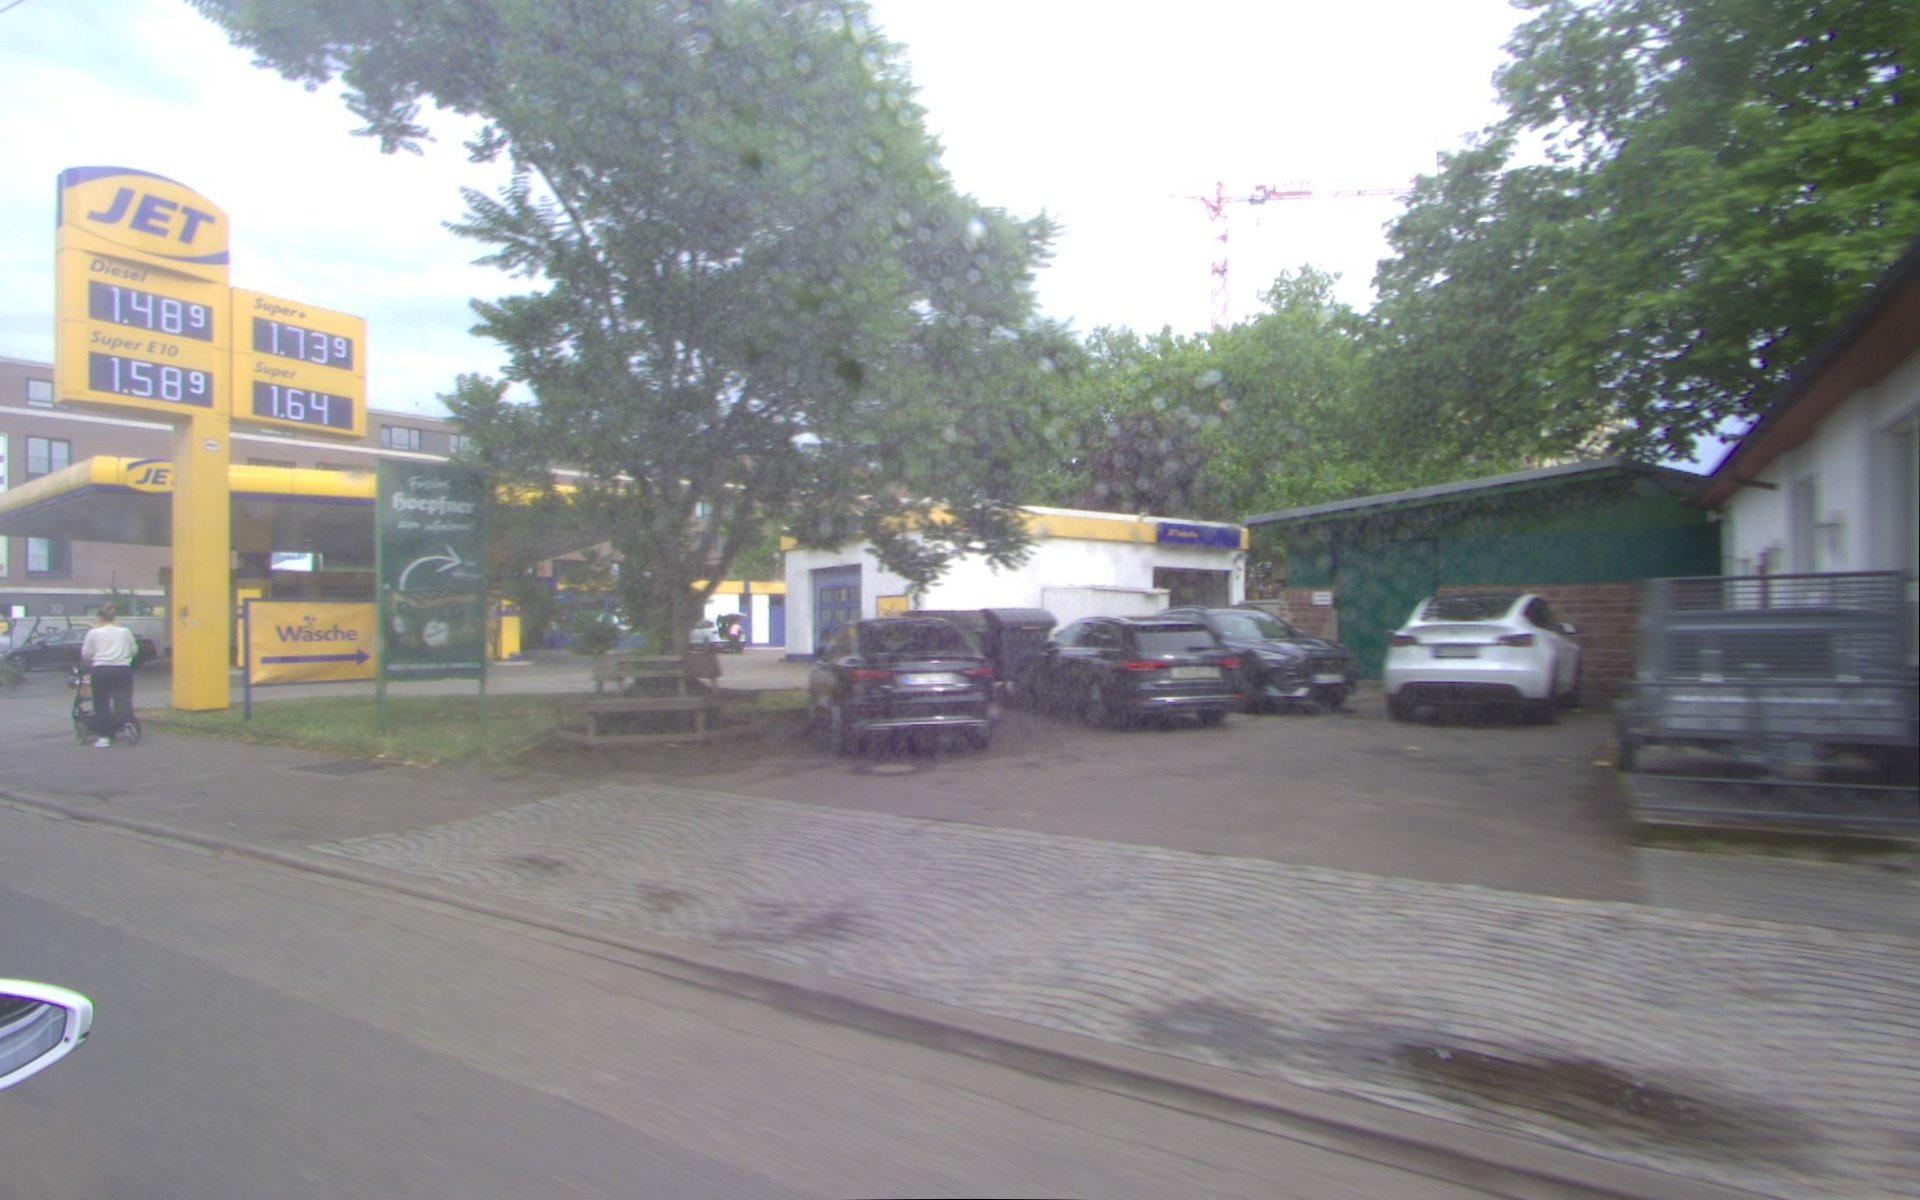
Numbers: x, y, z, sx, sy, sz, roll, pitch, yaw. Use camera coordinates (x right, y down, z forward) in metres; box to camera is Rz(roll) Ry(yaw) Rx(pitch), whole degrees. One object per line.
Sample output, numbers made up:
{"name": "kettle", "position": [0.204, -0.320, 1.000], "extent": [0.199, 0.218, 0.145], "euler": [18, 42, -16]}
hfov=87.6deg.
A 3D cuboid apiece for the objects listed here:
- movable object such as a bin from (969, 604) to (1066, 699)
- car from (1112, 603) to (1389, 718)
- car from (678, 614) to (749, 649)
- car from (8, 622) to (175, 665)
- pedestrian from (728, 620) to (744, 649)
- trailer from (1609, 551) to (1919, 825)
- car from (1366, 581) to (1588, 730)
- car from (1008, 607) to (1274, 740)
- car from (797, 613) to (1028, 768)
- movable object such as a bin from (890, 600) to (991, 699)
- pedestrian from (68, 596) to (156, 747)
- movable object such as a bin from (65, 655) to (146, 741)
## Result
{"name": "movable object such as a bin", "position": [0.952, 0.850, 16.921], "extent": [1.272, 1.510, 1.121], "euler": [2, 1, -18]}
{"name": "car", "position": [4.280, 0.816, 15.637], "extent": [1.951, 1.478, 4.480], "euler": [0, 0, -19]}
{"name": "car", "position": [-12.352, 1.631, 50.081], "extent": [1.818, 1.658, 4.446], "euler": [2, -3, -37]}
{"name": "car", "position": [-30.916, 1.527, 35.693], "extent": [4.793, 1.446, 1.952], "euler": [0, -1, 11]}
{"name": "pedestrian", "position": [-10.771, 1.671, 48.106], "extent": [0.573, 1.363, 0.608], "euler": [2, -3, -33]}
{"name": "trailer", "position": [5.771, 0.553, 7.402], "extent": [1.598, 1.558, 3.155], "euler": [-1, -2, 33]}
{"name": "car", "position": [7.169, 0.702, 13.640], "extent": [1.966, 1.667, 4.409], "euler": [-1, -2, 37]}
{"name": "car", "position": [2.265, 0.861, 13.944], "extent": [1.844, 1.446, 4.534], "euler": [-2, 1, -15]}
{"name": "car", "position": [-0.787, 0.884, 11.869], "extent": [1.900, 1.426, 4.578], "euler": [0, 0, -14]}
{"name": "movable object such as a bin", "position": [-0.346, 0.798, 16.560], "extent": [1.397, 1.535, 1.121], "euler": [1, 3, -16]}
{"name": "pedestrian", "position": [-10.862, 0.879, 12.822], "extent": [0.762, 1.821, 1.151], "euler": [-2, 1, -43]}
{"name": "movable object such as a bin", "position": [-11.545, 1.297, 13.530], "extent": [0.762, 1.053, 1.014], "euler": [-2, 1, -43]}
